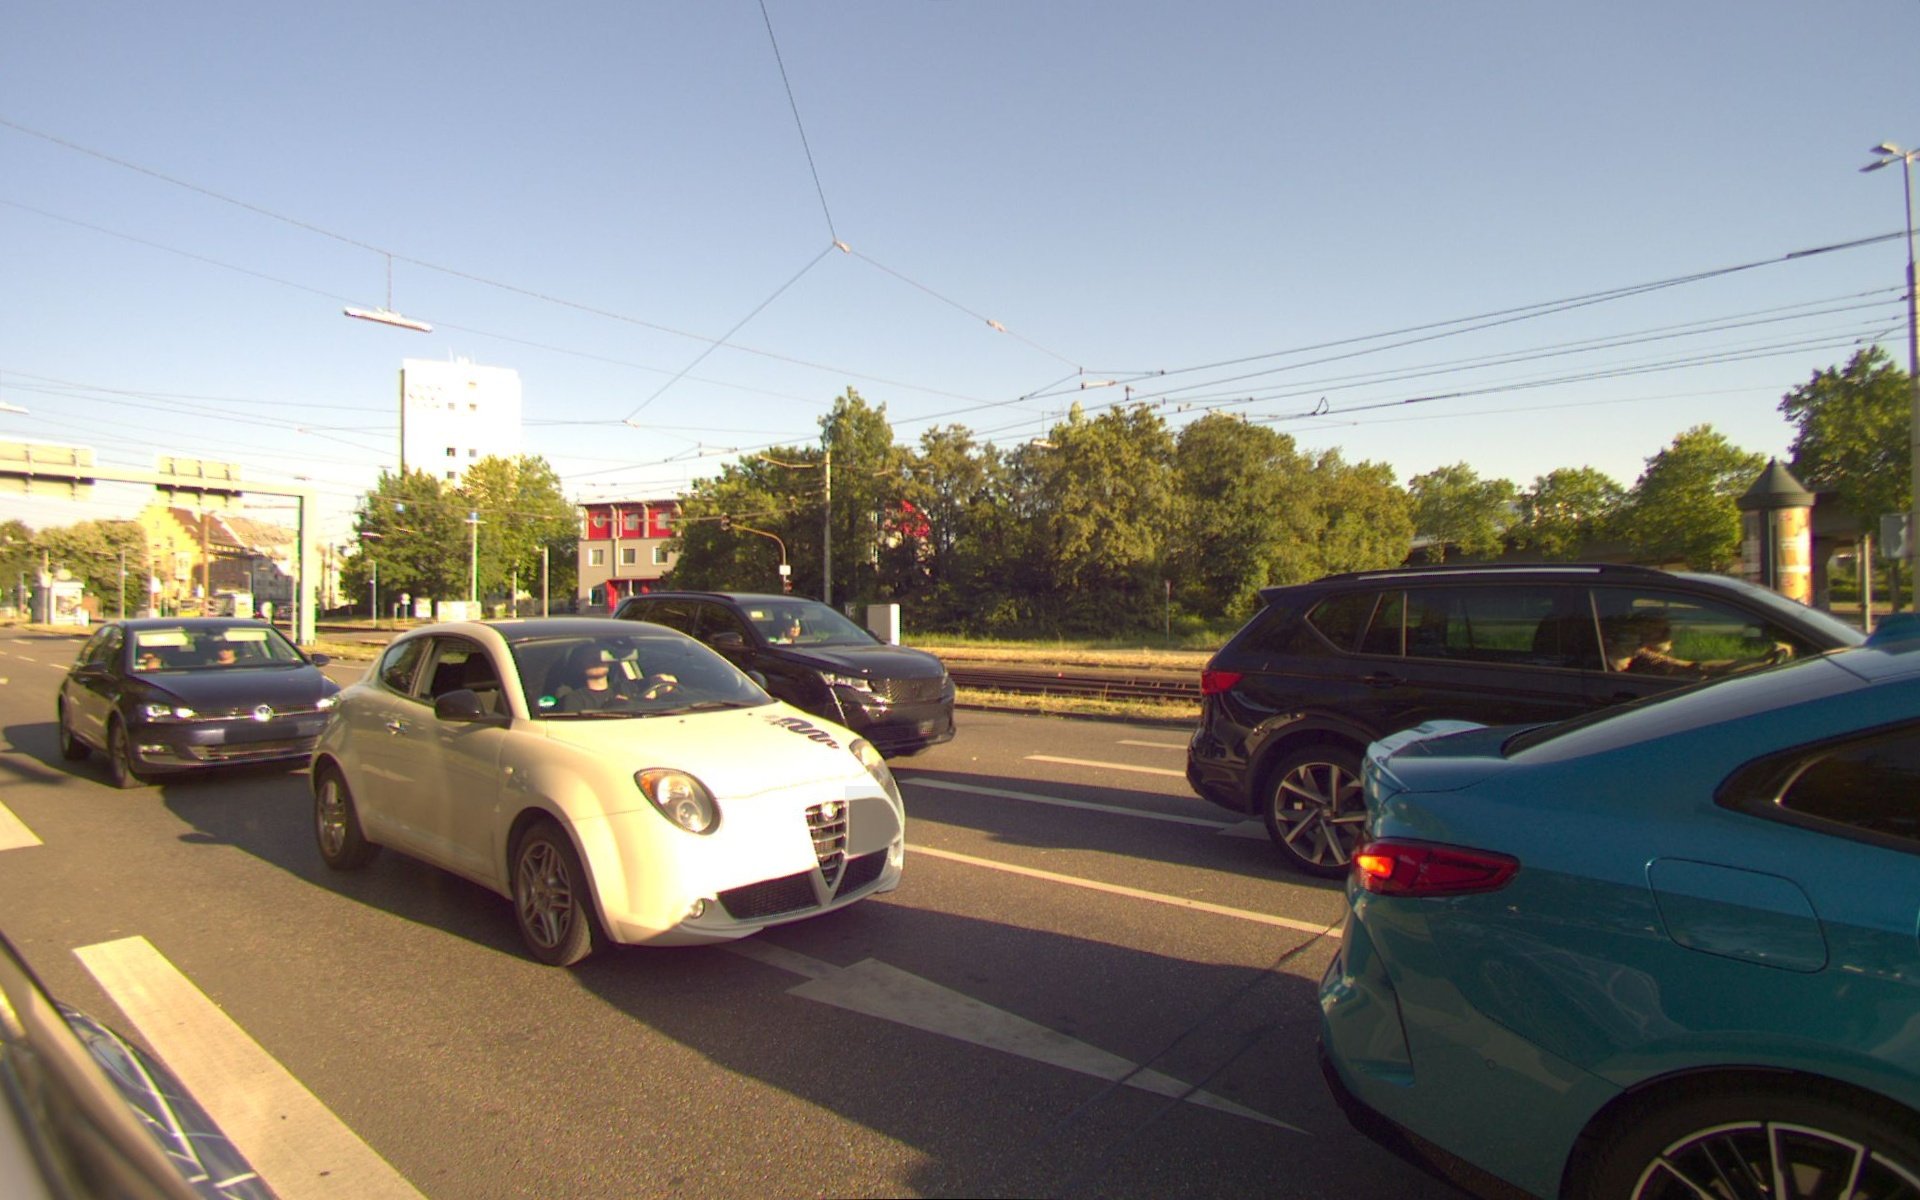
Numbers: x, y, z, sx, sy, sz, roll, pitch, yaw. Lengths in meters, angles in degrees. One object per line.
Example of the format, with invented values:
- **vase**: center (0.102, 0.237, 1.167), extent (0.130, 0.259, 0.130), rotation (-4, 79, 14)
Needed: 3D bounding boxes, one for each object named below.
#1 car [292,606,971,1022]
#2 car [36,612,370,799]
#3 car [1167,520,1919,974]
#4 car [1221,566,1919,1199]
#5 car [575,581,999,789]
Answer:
- **car**: center (-1.971, 0.771, 5.419), extent (3.921, 1.441, 1.644), rotation (-1, -1, 40)
- **car**: center (-7.455, 0.858, 9.837), extent (3.921, 1.441, 1.759), rotation (-1, -1, 40)
- **car**: center (3.550, 0.564, 5.057), extent (4.598, 1.694, 1.896), rotation (-1, -1, 40)
- **car**: center (2.873, 0.651, 1.481), extent (4.507, 1.428, 1.767), rotation (-1, -1, 39)
- **car**: center (-1.961, 0.715, 10.367), extent (4.601, 1.661, 1.894), rotation (-1, -1, 43)
